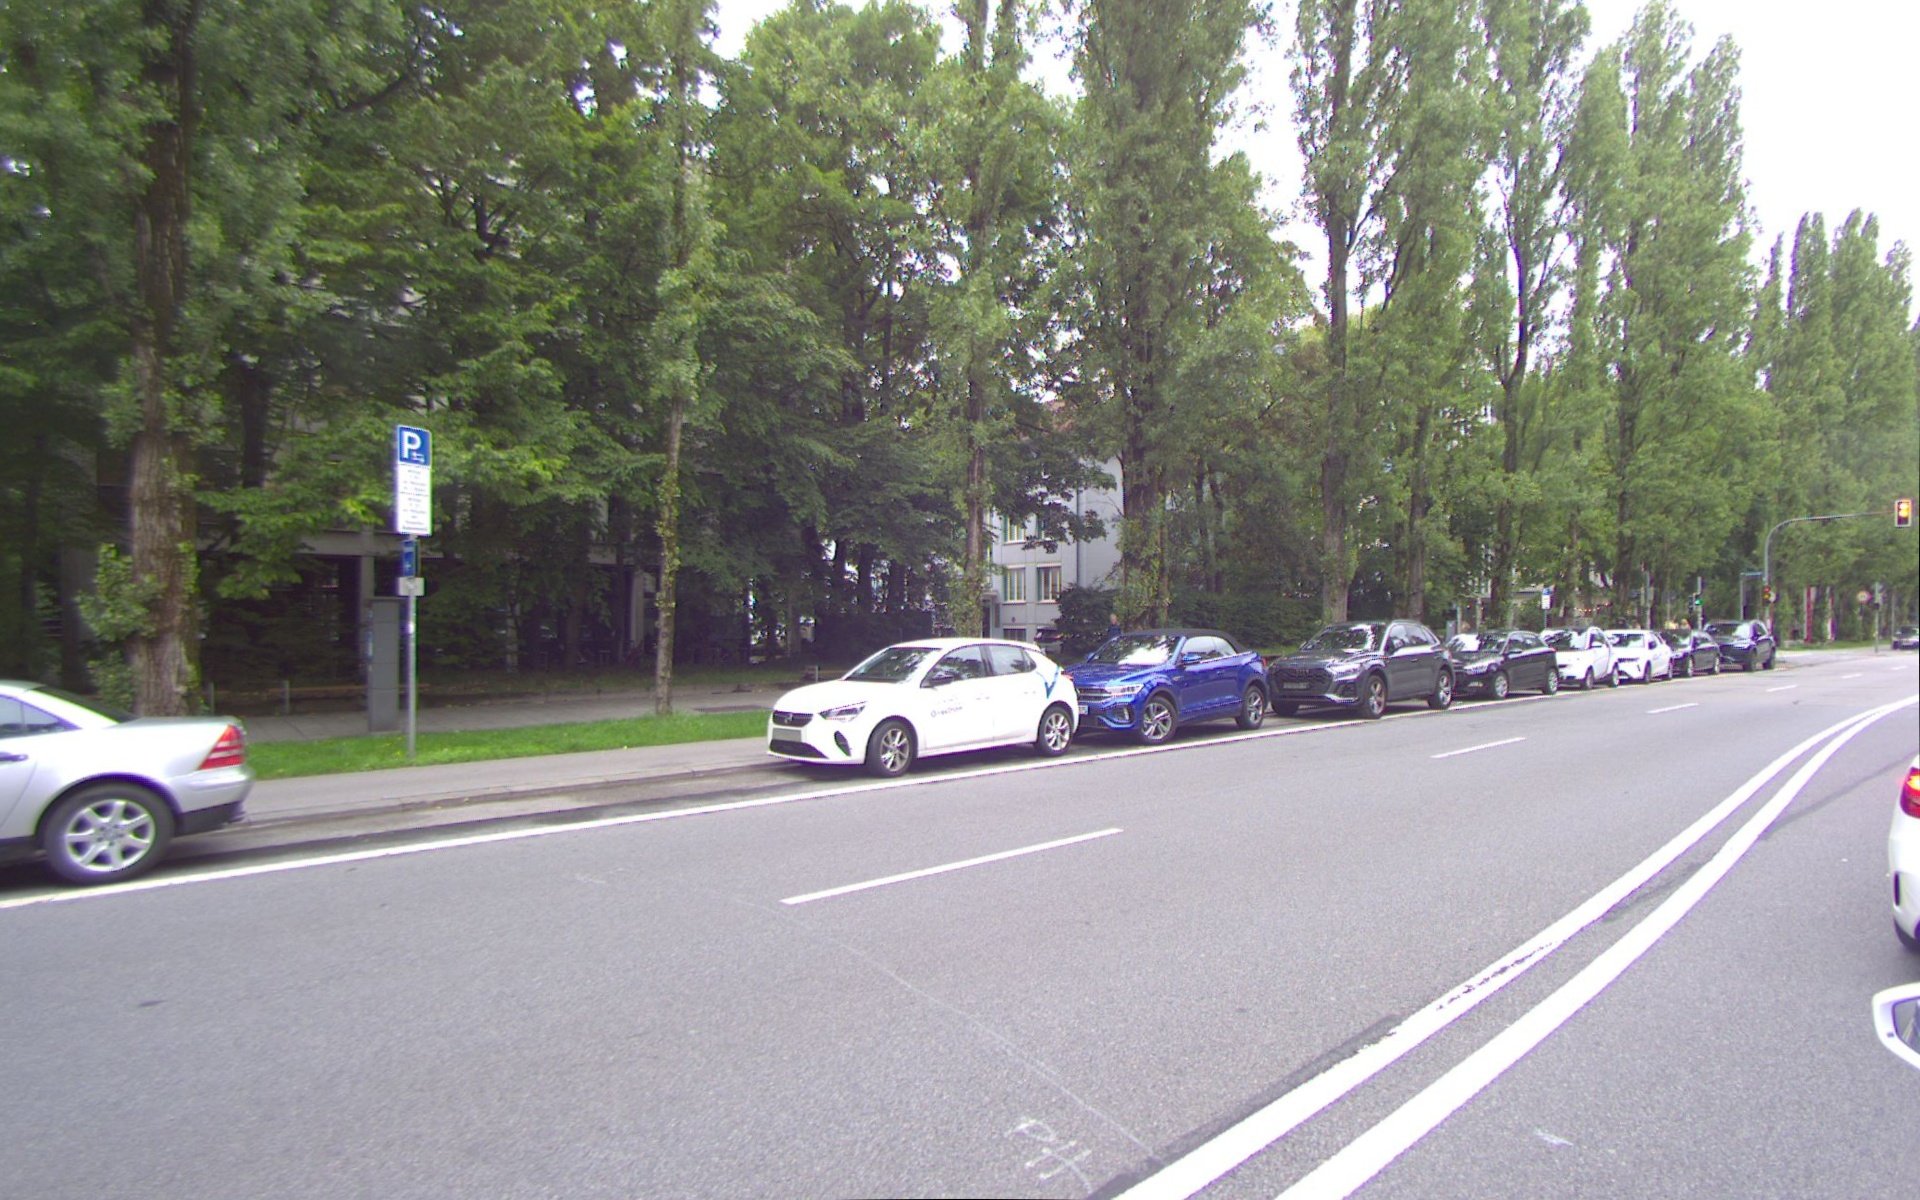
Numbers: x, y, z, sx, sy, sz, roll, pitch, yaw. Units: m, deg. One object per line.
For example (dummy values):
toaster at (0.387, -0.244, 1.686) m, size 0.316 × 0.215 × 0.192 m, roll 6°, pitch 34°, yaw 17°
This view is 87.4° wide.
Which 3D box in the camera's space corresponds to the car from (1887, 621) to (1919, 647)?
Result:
car at (58.123, 2.050, 61.330) m, size 3.968 × 1.506 × 1.806 m, roll 1°, pitch -1°, yaw -41°

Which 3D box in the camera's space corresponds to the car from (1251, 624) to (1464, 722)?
car at (7.262, 1.259, 18.158) m, size 4.305 × 1.568 × 1.776 m, roll 1°, pitch -4°, yaw -41°

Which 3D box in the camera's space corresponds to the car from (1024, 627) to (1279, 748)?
car at (2.930, 1.186, 14.829) m, size 1.725 × 1.538 × 4.092 m, roll -3°, pitch -3°, yaw 44°

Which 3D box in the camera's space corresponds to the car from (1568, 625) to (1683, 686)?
car at (18.519, 1.479, 27.897) m, size 3.969 × 1.568 × 1.693 m, roll 1°, pitch -2°, yaw -41°

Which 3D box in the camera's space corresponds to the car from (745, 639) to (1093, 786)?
car at (-0.377, 1.199, 11.921) m, size 3.973 × 1.431 × 1.671 m, roll 1°, pitch -3°, yaw -41°

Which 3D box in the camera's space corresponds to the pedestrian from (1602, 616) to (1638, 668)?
pedestrian at (23.355, 1.471, 35.550) m, size 1.073 × 1.787 × 0.814 m, roll 1°, pitch -1°, yaw -42°

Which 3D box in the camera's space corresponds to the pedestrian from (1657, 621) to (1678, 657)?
pedestrian at (40.527, 2.217, 57.566) m, size 0.772 × 2.040 × 0.823 m, roll 1°, pitch -1°, yaw -42°

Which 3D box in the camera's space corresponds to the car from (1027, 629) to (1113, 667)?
car at (5.300, 2.257, 48.096) m, size 1.972 × 1.706 × 4.243 m, roll -1°, pitch -2°, yaw 42°

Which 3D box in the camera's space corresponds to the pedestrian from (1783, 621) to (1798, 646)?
pedestrian at (66.255, 2.665, 80.098) m, size 0.772 × 2.040 × 0.822 m, roll 1°, pitch -1°, yaw -43°

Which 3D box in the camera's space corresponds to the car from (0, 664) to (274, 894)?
car at (-6.716, 1.115, 6.202) m, size 3.995 × 1.322 × 1.568 m, roll 1°, pitch -3°, yaw -40°

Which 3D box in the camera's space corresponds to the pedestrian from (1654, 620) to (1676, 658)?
pedestrian at (33.294, 1.835, 47.450) m, size 0.803 × 1.759 × 0.696 m, roll 1°, pitch -1°, yaw -41°

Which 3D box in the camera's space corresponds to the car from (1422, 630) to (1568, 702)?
car at (11.802, 1.417, 22.081) m, size 3.839 × 1.452 × 1.526 m, roll 1°, pitch -4°, yaw -41°

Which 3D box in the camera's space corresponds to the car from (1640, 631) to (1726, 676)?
car at (22.686, 1.650, 31.491) m, size 3.816 × 1.290 × 1.279 m, roll 1°, pitch -1°, yaw -40°

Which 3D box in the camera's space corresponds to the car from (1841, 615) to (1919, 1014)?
car at (5.777, 0.844, 4.540) m, size 4.540 × 1.474 × 1.812 m, roll 1°, pitch 0°, yaw -37°

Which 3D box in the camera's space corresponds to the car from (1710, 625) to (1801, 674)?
car at (27.405, 1.650, 34.568) m, size 3.966 × 1.572 × 1.693 m, roll 1°, pitch -1°, yaw -40°

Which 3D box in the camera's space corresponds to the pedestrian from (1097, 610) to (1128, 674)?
pedestrian at (4.283, 1.171, 28.234) m, size 0.635 × 1.762 × 0.594 m, roll 1°, pitch -1°, yaw -40°

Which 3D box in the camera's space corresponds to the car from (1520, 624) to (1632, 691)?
car at (15.605, 1.400, 25.405) m, size 3.415 × 1.572 × 1.398 m, roll 1°, pitch -1°, yaw -40°

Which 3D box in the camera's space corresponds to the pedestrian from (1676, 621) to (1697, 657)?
pedestrian at (41.281, 2.220, 57.040) m, size 0.772 × 2.040 × 0.823 m, roll 1°, pitch -1°, yaw -42°

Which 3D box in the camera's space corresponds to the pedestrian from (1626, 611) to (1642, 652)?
pedestrian at (33.310, 1.560, 49.639) m, size 0.596 × 2.040 × 0.498 m, roll 1°, pitch -1°, yaw -41°
